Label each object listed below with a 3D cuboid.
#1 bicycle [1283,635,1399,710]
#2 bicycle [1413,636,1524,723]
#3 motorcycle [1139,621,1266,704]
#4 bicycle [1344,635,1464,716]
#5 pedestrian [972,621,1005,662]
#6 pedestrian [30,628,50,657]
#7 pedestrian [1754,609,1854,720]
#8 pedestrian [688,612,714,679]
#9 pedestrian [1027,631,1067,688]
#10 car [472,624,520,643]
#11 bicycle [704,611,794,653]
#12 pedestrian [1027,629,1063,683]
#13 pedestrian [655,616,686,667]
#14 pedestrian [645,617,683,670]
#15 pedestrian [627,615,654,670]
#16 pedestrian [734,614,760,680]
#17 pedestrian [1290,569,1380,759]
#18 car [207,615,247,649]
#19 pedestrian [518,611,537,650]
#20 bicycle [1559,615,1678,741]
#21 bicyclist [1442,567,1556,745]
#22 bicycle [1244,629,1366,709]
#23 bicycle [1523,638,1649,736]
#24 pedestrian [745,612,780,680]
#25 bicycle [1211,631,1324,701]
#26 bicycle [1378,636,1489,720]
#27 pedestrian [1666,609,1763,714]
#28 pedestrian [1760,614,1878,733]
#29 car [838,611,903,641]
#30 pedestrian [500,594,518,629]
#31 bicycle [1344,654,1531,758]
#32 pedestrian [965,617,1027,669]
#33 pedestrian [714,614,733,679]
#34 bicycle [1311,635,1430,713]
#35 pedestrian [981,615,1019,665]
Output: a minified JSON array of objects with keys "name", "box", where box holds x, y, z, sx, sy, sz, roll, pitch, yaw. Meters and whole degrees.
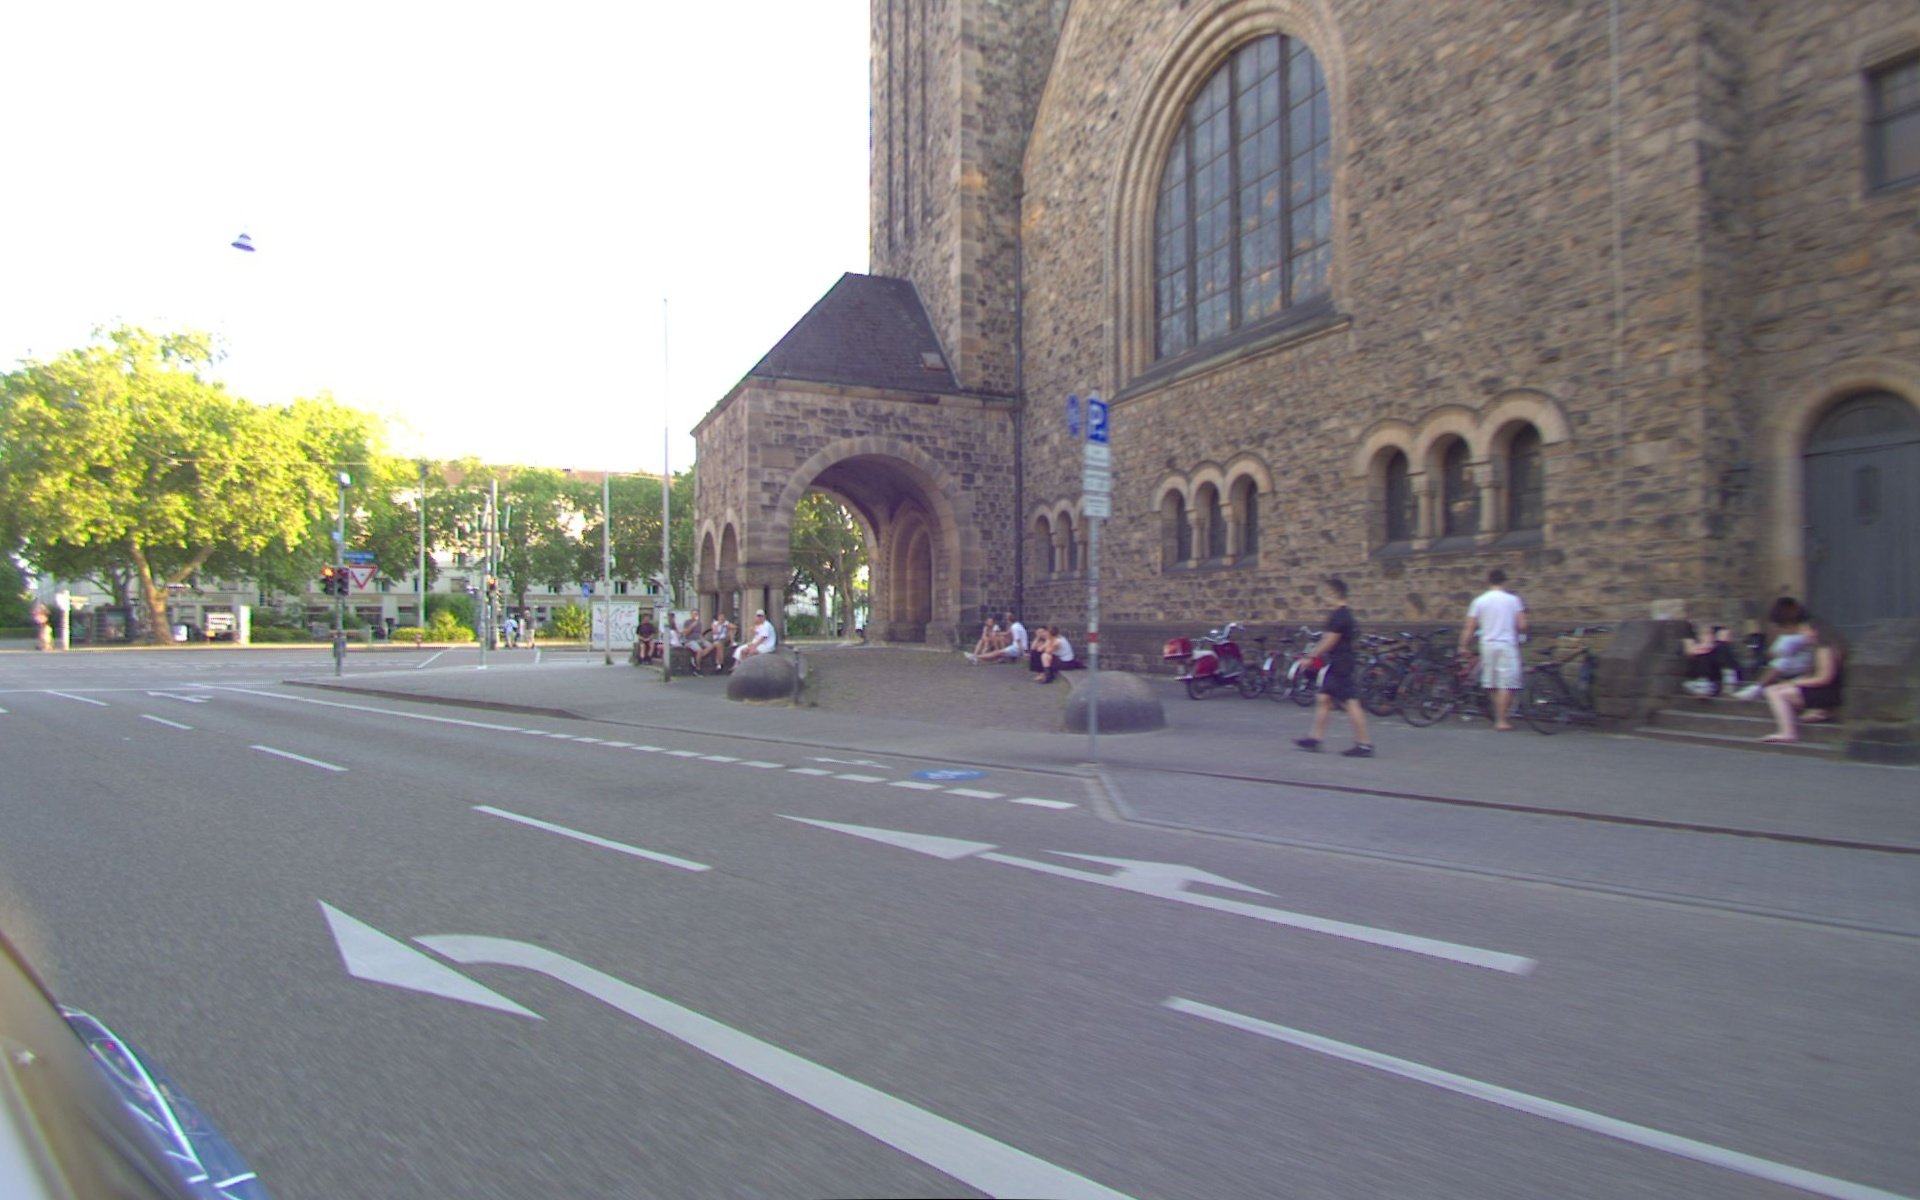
[{"name":"bicycle","box":[5.397,0.997,14.292,1.974,0.997,0.467,1,-2,-34]},{"name":"bicycle","box":[6.337,0.957,12.564,1.853,0.997,0.371,1,-2,-34]},{"name":"motorcycle","box":[3.886,0.952,16.060,0.822,1.134,2.387,-2,0,45]},{"name":"bicycle","box":[5.905,0.968,13.410,1.957,0.997,0.467,1,-2,-34]},{"name":"pedestrian","box":[0.650,0.936,23.016,0.730,0.923,0.647,0,-2,1]},{"name":"pedestrian","box":[-53.769,2.477,59.172,0.734,1.641,0.661,0,-2,-32]},{"name":"pedestrian","box":[8.425,0.627,10.108,0.490,1.056,0.609,0,-2,-29]},{"name":"pedestrian","box":[-5.694,0.995,22.257,0.541,1.464,0.559,0,-2,-14]},{"name":"pedestrian","box":[1.572,1.058,18.186,0.688,0.999,0.560,0,-2,8]},{"name":"car","box":[-44.736,3.226,97.555,3.932,1.719,2.006,0,-2,-15]},{"name":"bicycle","box":[-5.563,0.840,26.709,2.247,1.065,0.597,1,-2,-31]},{"name":"pedestrian","box":[1.591,1.033,18.794,0.642,0.975,0.560,0,-2,8]},{"name":"pedestrian","box":[-7.930,1.123,27.758,0.790,1.385,0.701,0,-2,-15]},{"name":"pedestrian","box":[-7.852,1.140,26.859,0.793,1.385,0.699,0,-2,2]},{"name":"pedestrian","box":[-8.692,1.137,27.530,0.619,1.465,0.918,1,-2,-23]},{"name":"pedestrian","box":[-4.657,1.019,22.094,0.539,1.417,0.460,0,-2,-14]},{"name":"pedestrian","box":[3.615,0.593,9.752,0.713,1.738,0.685,-1,-2,28]},{"name":"car","box":[-45.107,1.960,62.365,1.837,2.029,3.820,1,-2,-34]},{"name":"pedestrian","box":[-20.883,1.477,48.852,0.699,1.861,1.163,1,-2,-29]},{"name":"bicycle","box":[7.079,0.802,10.854,1.705,1.258,0.438,1,-2,-35]},{"name":"bicyclist","box":[6.018,0.592,11.310,0.926,1.894,0.710,-1,-1,-31]},{"name":"bicycle","box":[5.091,0.987,14.893,1.975,0.996,0.587,-3,0,-34]},{"name":"bicycle","box":[6.919,0.923,11.146,1.853,0.997,0.442,1,-2,-34]},{"name":"pedestrian","box":[-4.211,0.963,21.538,0.692,1.417,0.634,0,-2,-14]},{"name":"bicycle","box":[4.745,0.985,15.557,1.975,0.997,0.587,1,-2,-36]},{"name":"bicycle","box":[6.083,0.968,12.955,1.853,0.997,0.371,1,-2,-34]},{"name":"pedestrian","box":[7.839,0.626,10.539,0.514,1.056,0.736,-1,-1,11]},{"name":"pedestrian","box":[8.034,0.664,9.476,0.509,1.064,0.702,1,-2,-32]},{"name":"car","box":[-8.111,2.365,91.315,5.482,2.638,2.006,0,-2,-25]},{"name":"pedestrian","box":[-21.737,0.567,48.760,0.708,1.646,1.010,1,-2,-29]},{"name":"bicycle","box":[5.431,1.173,11.494,2.150,1.020,0.555,-1,-1,-20]},{"name":"pedestrian","box":[0.759,0.918,21.647,1.315,1.102,0.685,0,-2,2]},{"name":"pedestrian","box":[-5.241,1.017,22.452,0.395,1.417,0.549,0,-2,-14]},{"name":"bicycle","box":[5.633,0.986,13.836,1.974,0.997,0.467,1,-2,-34]},{"name":"pedestrian","box":[0.869,0.887,22.342,0.819,1.084,0.647,0,-2,1]}]
